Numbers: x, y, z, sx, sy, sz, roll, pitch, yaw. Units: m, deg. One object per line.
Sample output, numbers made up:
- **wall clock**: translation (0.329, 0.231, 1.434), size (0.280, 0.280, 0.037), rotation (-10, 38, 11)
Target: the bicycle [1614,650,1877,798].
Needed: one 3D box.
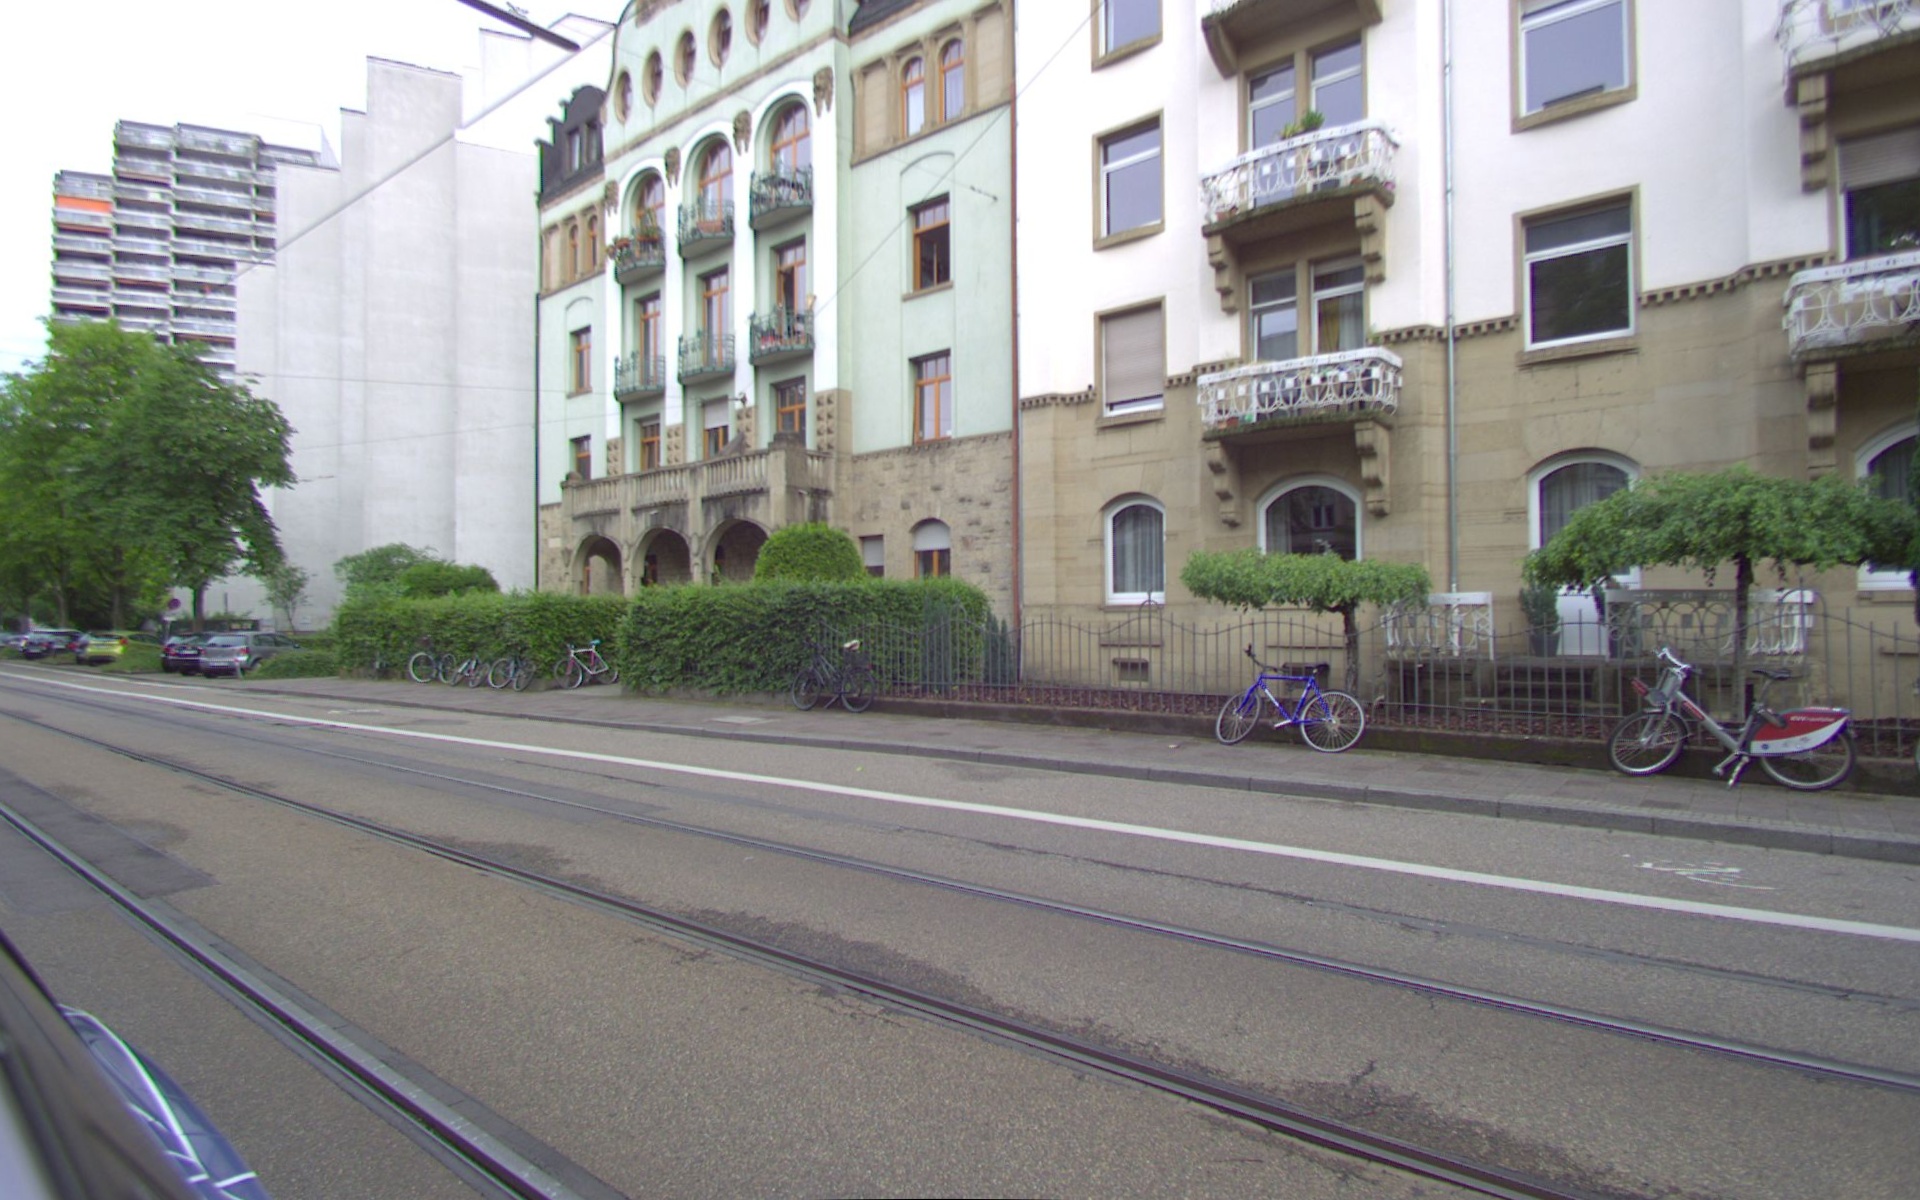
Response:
- **bicycle**: translation (6.325, 0.967, 8.249), size (1.618, 1.110, 0.382), rotation (-1, -2, 29)

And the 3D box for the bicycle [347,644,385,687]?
- **bicycle**: translation (-15.739, 1.716, 26.786), size (1.545, 1.092, 0.356), rotation (-2, -2, 40)

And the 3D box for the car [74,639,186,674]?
- **car**: translation (-35.402, 2.387, 43.303), size (1.670, 1.405, 4.003), rotation (0, -2, -4)

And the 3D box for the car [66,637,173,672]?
- **car**: translation (-37.603, 2.419, 45.426), size (1.670, 1.453, 4.003), rotation (0, -2, -4)

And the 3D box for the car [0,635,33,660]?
- **car**: translation (-63.197, 3.089, 66.154), size (1.670, 1.632, 4.003), rotation (0, -2, -4)

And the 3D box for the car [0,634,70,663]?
- **car**: translation (-55.401, 2.874, 60.175), size (1.670, 1.632, 4.003), rotation (0, -2, -4)

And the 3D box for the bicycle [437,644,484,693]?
- **bicycle**: translation (-11.445, 1.548, 23.168), size (1.545, 1.092, 0.356), rotation (-2, -2, 40)

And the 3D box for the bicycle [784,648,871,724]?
- **bicycle**: translation (-2.030, 1.287, 15.381), size (1.545, 1.092, 0.356), rotation (-2, -2, 40)

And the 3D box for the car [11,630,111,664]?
- **car**: translation (-45.410, 2.366, 51.232), size (1.670, 1.632, 4.003), rotation (0, -2, -4)

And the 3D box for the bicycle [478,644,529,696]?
- **bicycle**: translation (-9.905, 1.507, 21.947), size (1.545, 1.092, 0.356), rotation (-2, -2, 40)

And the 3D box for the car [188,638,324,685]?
- **car**: translation (-22.885, 1.967, 33.094), size (1.671, 1.414, 4.000), rotation (0, -2, 0)

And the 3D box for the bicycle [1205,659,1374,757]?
- **bicycle**: translation (3.529, 1.137, 10.917), size (1.660, 0.935, 0.354), rotation (-3, -22, 42)

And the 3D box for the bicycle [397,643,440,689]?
- **bicycle**: translation (-13.271, 1.601, 24.783), size (1.545, 1.092, 0.356), rotation (-2, -2, 40)

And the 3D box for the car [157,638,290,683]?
- **car**: translation (-25.177, 2.042, 34.760), size (1.671, 1.414, 4.000), rotation (0, -2, 0)

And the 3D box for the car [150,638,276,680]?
- **car**: translation (-27.303, 2.122, 37.159), size (1.671, 1.414, 4.000), rotation (0, -2, 0)

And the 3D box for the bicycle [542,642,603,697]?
- **bicycle**: translation (-8.332, 1.483, 21.777), size (0.300, 1.091, 1.190), rotation (-2, 0, 41)
